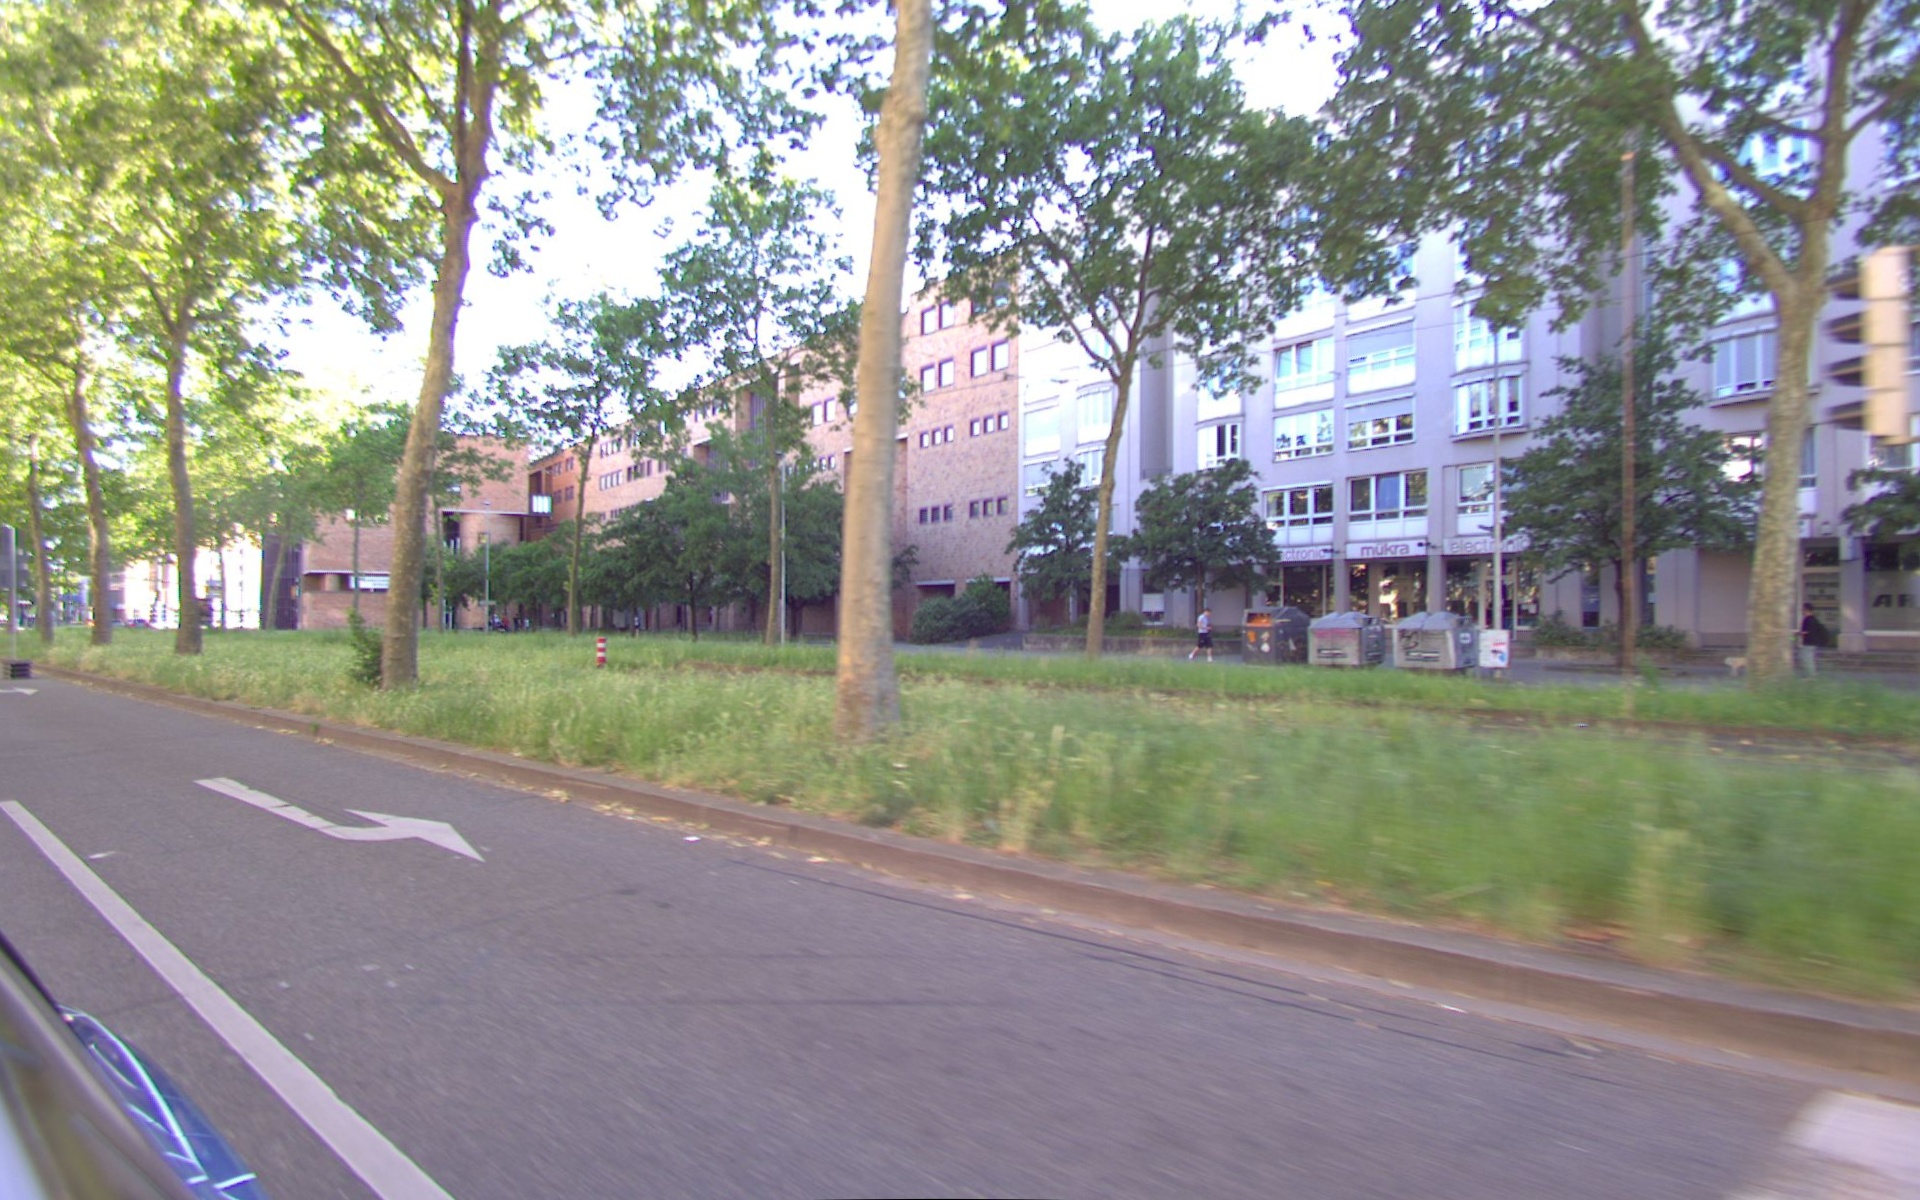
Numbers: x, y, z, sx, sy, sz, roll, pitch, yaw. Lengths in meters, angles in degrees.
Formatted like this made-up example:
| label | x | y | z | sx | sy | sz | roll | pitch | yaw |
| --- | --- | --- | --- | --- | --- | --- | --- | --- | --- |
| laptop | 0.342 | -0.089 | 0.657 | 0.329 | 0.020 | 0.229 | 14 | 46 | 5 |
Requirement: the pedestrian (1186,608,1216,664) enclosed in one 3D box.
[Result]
| label | x | y | z | sx | sy | sz | roll | pitch | yaw |
| --- | --- | --- | --- | --- | --- | --- | --- | --- | --- |
| pedestrian | 7.675 | 1.133 | 32.212 | 0.720 | 1.753 | 0.648 | 1 | -2 | -45 |

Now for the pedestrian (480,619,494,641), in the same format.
| label | x | y | z | sx | sy | sz | roll | pitch | yaw |
| --- | --- | --- | --- | --- | --- | --- | --- | --- | --- |
| pedestrian | -34.427 | 2.189 | 73.662 | 0.756 | 1.629 | 0.657 | -1 | -2 | 41 |

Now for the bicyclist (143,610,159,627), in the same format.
| label | x | y | z | sx | sy | sz | roll | pitch | yaw |
| --- | --- | --- | --- | --- | --- | --- | --- | --- | --- |
| bicyclist | -75.112 | 1.751 | 93.973 | 1.209 | 1.583 | 0.931 | -1 | -2 | 42 |

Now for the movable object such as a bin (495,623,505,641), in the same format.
| label | x | y | z | sx | sy | sz | roll | pitch | yaw |
| --- | --- | --- | --- | --- | --- | --- | --- | --- | --- |
| movable object such as a bin | -32.691 | 2.264 | 71.959 | 0.756 | 1.289 | 0.352 | -1 | -2 | 41 |

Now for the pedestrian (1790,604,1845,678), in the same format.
| label | x | y | z | sx | sy | sz | roll | pitch | yaw |
| --- | --- | --- | --- | --- | --- | --- | --- | --- | --- |
| pedestrian | 19.495 | 0.916 | 23.005 | 0.698 | 1.651 | 0.790 | 1 | -1 | -37 |

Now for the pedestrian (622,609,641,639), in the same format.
| label | x | y | z | sx | sy | sz | roll | pitch | yaw |
| --- | --- | --- | --- | --- | --- | --- | --- | --- | --- |
| pedestrian | -20.263 | 1.499 | 62.482 | 0.901 | 1.845 | 0.814 | -2 | -2 | 44 |

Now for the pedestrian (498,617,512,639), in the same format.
| label | x | y | z | sx | sy | sz | roll | pitch | yaw |
| --- | --- | --- | --- | --- | --- | --- | --- | --- | --- |
| pedestrian | -32.892 | 2.010 | 73.089 | 0.756 | 1.629 | 0.657 | -1 | -2 | 41 |

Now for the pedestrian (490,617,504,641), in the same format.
| label | x | y | z | sx | sy | sz | roll | pitch | yaw |
| --- | --- | --- | --- | --- | --- | --- | --- | --- | --- |
| pedestrian | -33.177 | 2.056 | 72.538 | 0.796 | 1.735 | 0.657 | -1 | -2 | 41 |

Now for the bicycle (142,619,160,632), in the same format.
| label | x | y | z | sx | sy | sz | roll | pitch | yaw |
| --- | --- | --- | --- | --- | --- | --- | --- | --- | --- |
| bicycle | -75.117 | 2.376 | 93.957 | 2.436 | 1.134 | 0.946 | 0 | -1 | 42 |

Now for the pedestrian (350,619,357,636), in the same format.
| label | x | y | z | sx | sy | sz | roll | pitch | yaw |
| --- | --- | --- | --- | --- | --- | --- | --- | --- | --- |
| pedestrian | -55.619 | 2.502 | 92.850 | 0.411 | 1.555 | 0.653 | 1 | -2 | -44 |

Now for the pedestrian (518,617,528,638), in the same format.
| label | x | y | z | sx | sy | sz | roll | pitch | yaw |
| --- | --- | --- | --- | --- | --- | --- | --- | --- | --- |
| pedestrian | -31.736 | 1.997 | 73.464 | 0.463 | 1.517 | 0.478 | -1 | -2 | 39 |

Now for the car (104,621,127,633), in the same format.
| label | x | y | z | sx | sy | sz | roll | pitch | yaw |
| --- | --- | --- | --- | --- | --- | --- | --- | --- | --- |
| car | -99.484 | 3.176 | 119.212 | 3.219 | 1.440 | 1.596 | -1 | -2 | 41 |

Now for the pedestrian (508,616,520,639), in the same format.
| label | x | y | z | sx | sy | sz | roll | pitch | yaw |
| --- | --- | --- | --- | --- | --- | --- | --- | --- | --- |
| pedestrian | -32.393 | 2.009 | 73.446 | 0.596 | 1.692 | 0.604 | -1 | -2 | 41 |

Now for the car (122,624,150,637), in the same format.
| label | x | y | z | sx | sy | sz | roll | pitch | yaw |
| --- | --- | --- | --- | --- | --- | --- | --- | --- | --- |
| car | -89.967 | 3.317 | 110.477 | 4.147 | 1.440 | 1.653 | -1 | -2 | 41 |
